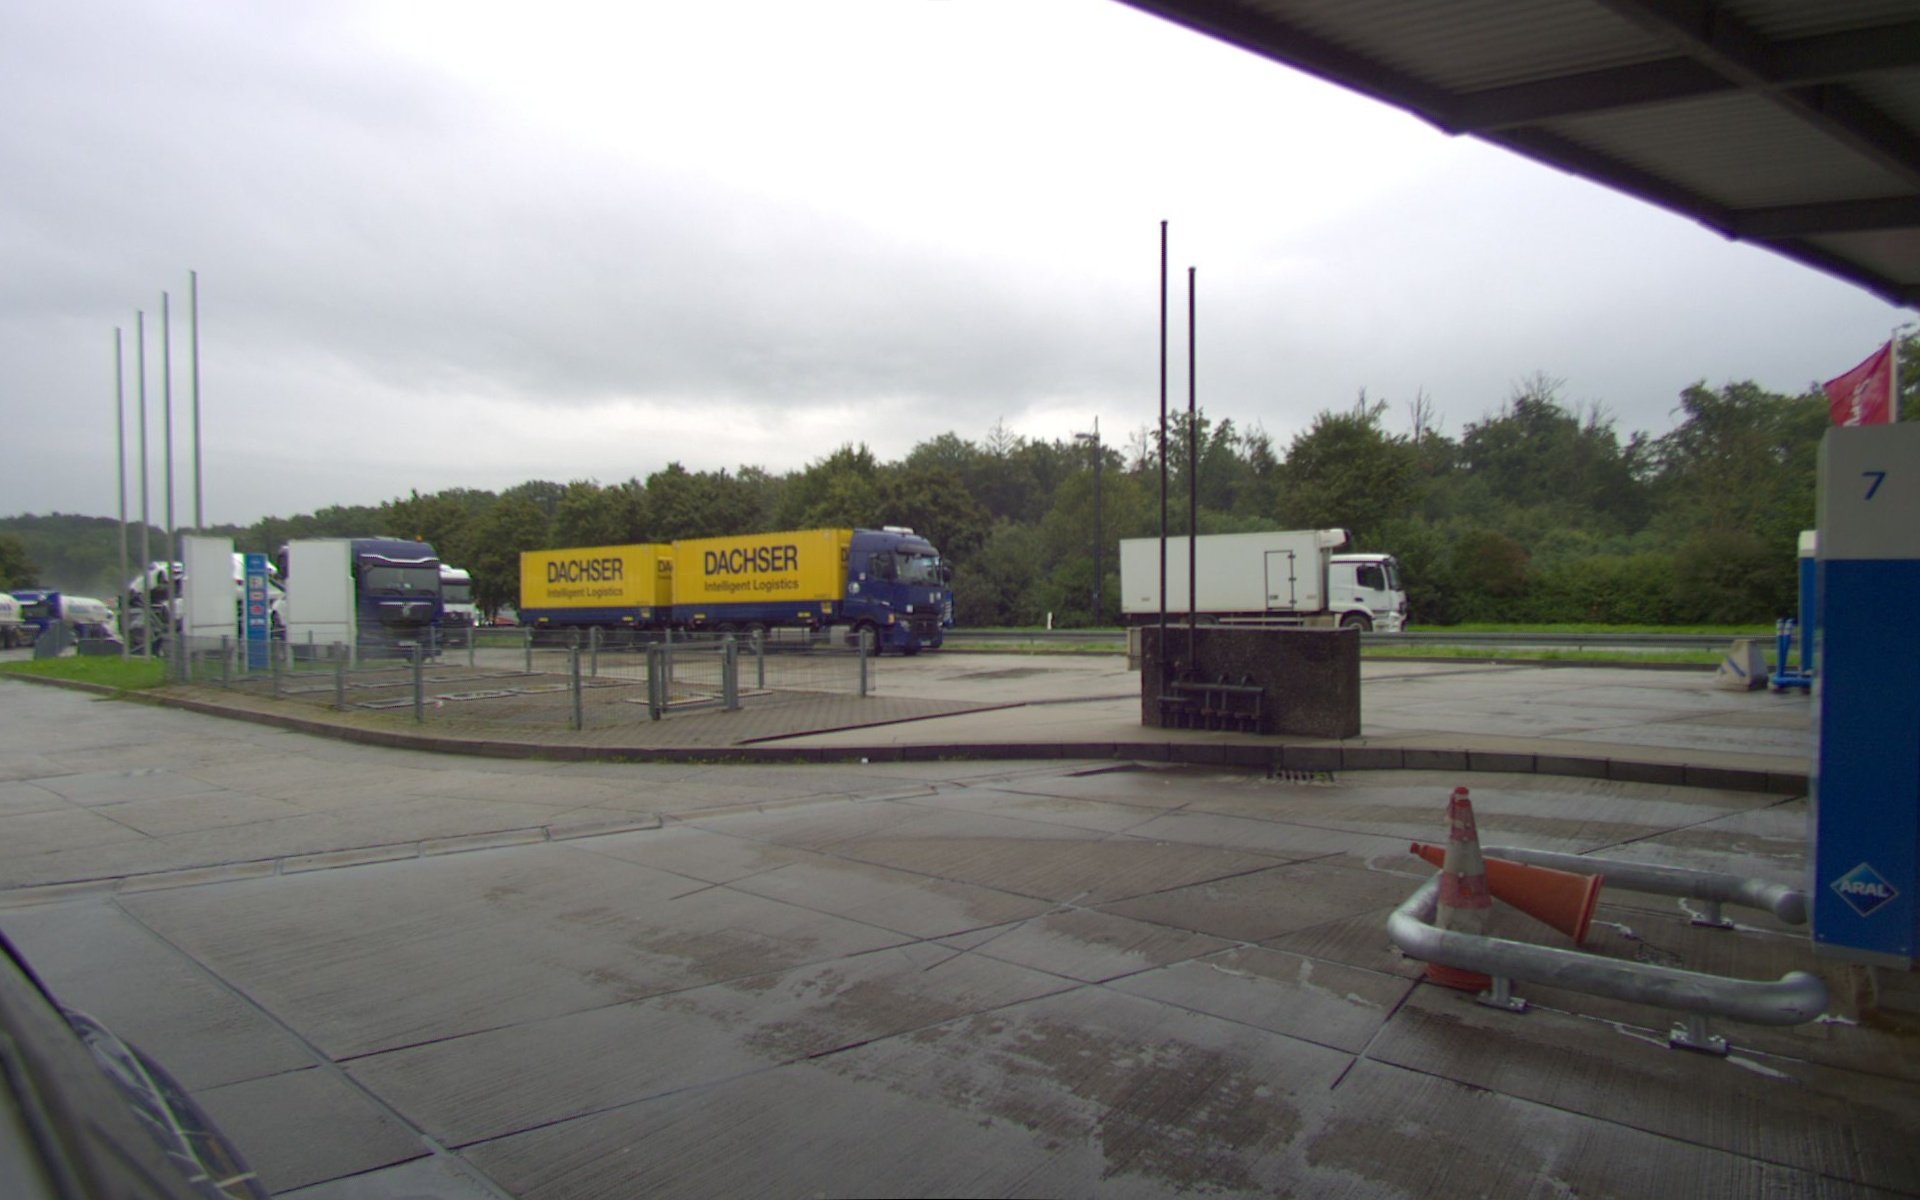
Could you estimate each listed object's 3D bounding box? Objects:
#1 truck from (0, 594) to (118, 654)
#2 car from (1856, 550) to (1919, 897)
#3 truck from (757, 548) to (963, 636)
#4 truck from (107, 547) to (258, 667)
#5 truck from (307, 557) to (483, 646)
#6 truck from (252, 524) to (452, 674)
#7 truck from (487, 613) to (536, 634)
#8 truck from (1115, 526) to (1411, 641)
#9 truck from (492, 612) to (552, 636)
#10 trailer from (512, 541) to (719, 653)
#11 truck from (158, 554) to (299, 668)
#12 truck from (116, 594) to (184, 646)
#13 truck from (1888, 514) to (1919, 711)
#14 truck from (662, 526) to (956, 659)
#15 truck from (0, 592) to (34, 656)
[{"bbox_3d":[-61.488,1.623,68.652,3.454,3.633,14.709,-1,-1,-27],"label":"truck"},{"bbox_3d":[6.916,0.545,3.795,5.269,1.620,1.842,-1,0,41],"label":"car"},{"bbox_3d":[-4.872,-0.310,47.639,10.195,3.836,2.395,-1,0,31],"label":"truck"},{"bbox_3d":[-29.582,0.301,38.443,6.605,4.213,2.635,-1,0,35],"label":"truck"},{"bbox_3d":[-27.312,0.106,48.624,10.654,3.946,2.727,-1,0,33],"label":"truck"},{"bbox_3d":[-19.003,0.013,31.473,7.089,4.213,2.635,-1,0,35],"label":"truck"},{"bbox_3d":[-44.666,2.368,100.758,4.913,2.029,1.980,-1,0,29],"label":"truck"},{"bbox_3d":[10.976,-0.513,37.444,10.195,3.836,2.395,-1,0,31],"label":"truck"},{"bbox_3d":[-40.552,2.206,93.664,5.810,2.140,2.061,-1,0,31],"label":"truck"},{"bbox_3d":[-13.493,-0.071,39.254,8.679,3.946,2.728,-1,0,32],"label":"trailer"},{"bbox_3d":[-26.101,0.397,36.069,4.738,3.800,2.635,-1,0,34],"label":"truck"},{"bbox_3d":[-69.639,1.642,86.863,11.525,4.160,3.101,-1,0,44],"label":"truck"},{"bbox_3d":[14.999,0.128,11.950,5.859,2.513,2.208,-1,0,41],"label":"truck"},{"bbox_3d":[-5.331,-0.175,34.024,10.654,3.946,2.727,-1,0,33],"label":"truck"},{"bbox_3d":[-55.149,1.339,53.685,3.454,3.633,14.444,-1,-1,-19],"label":"truck"}]
